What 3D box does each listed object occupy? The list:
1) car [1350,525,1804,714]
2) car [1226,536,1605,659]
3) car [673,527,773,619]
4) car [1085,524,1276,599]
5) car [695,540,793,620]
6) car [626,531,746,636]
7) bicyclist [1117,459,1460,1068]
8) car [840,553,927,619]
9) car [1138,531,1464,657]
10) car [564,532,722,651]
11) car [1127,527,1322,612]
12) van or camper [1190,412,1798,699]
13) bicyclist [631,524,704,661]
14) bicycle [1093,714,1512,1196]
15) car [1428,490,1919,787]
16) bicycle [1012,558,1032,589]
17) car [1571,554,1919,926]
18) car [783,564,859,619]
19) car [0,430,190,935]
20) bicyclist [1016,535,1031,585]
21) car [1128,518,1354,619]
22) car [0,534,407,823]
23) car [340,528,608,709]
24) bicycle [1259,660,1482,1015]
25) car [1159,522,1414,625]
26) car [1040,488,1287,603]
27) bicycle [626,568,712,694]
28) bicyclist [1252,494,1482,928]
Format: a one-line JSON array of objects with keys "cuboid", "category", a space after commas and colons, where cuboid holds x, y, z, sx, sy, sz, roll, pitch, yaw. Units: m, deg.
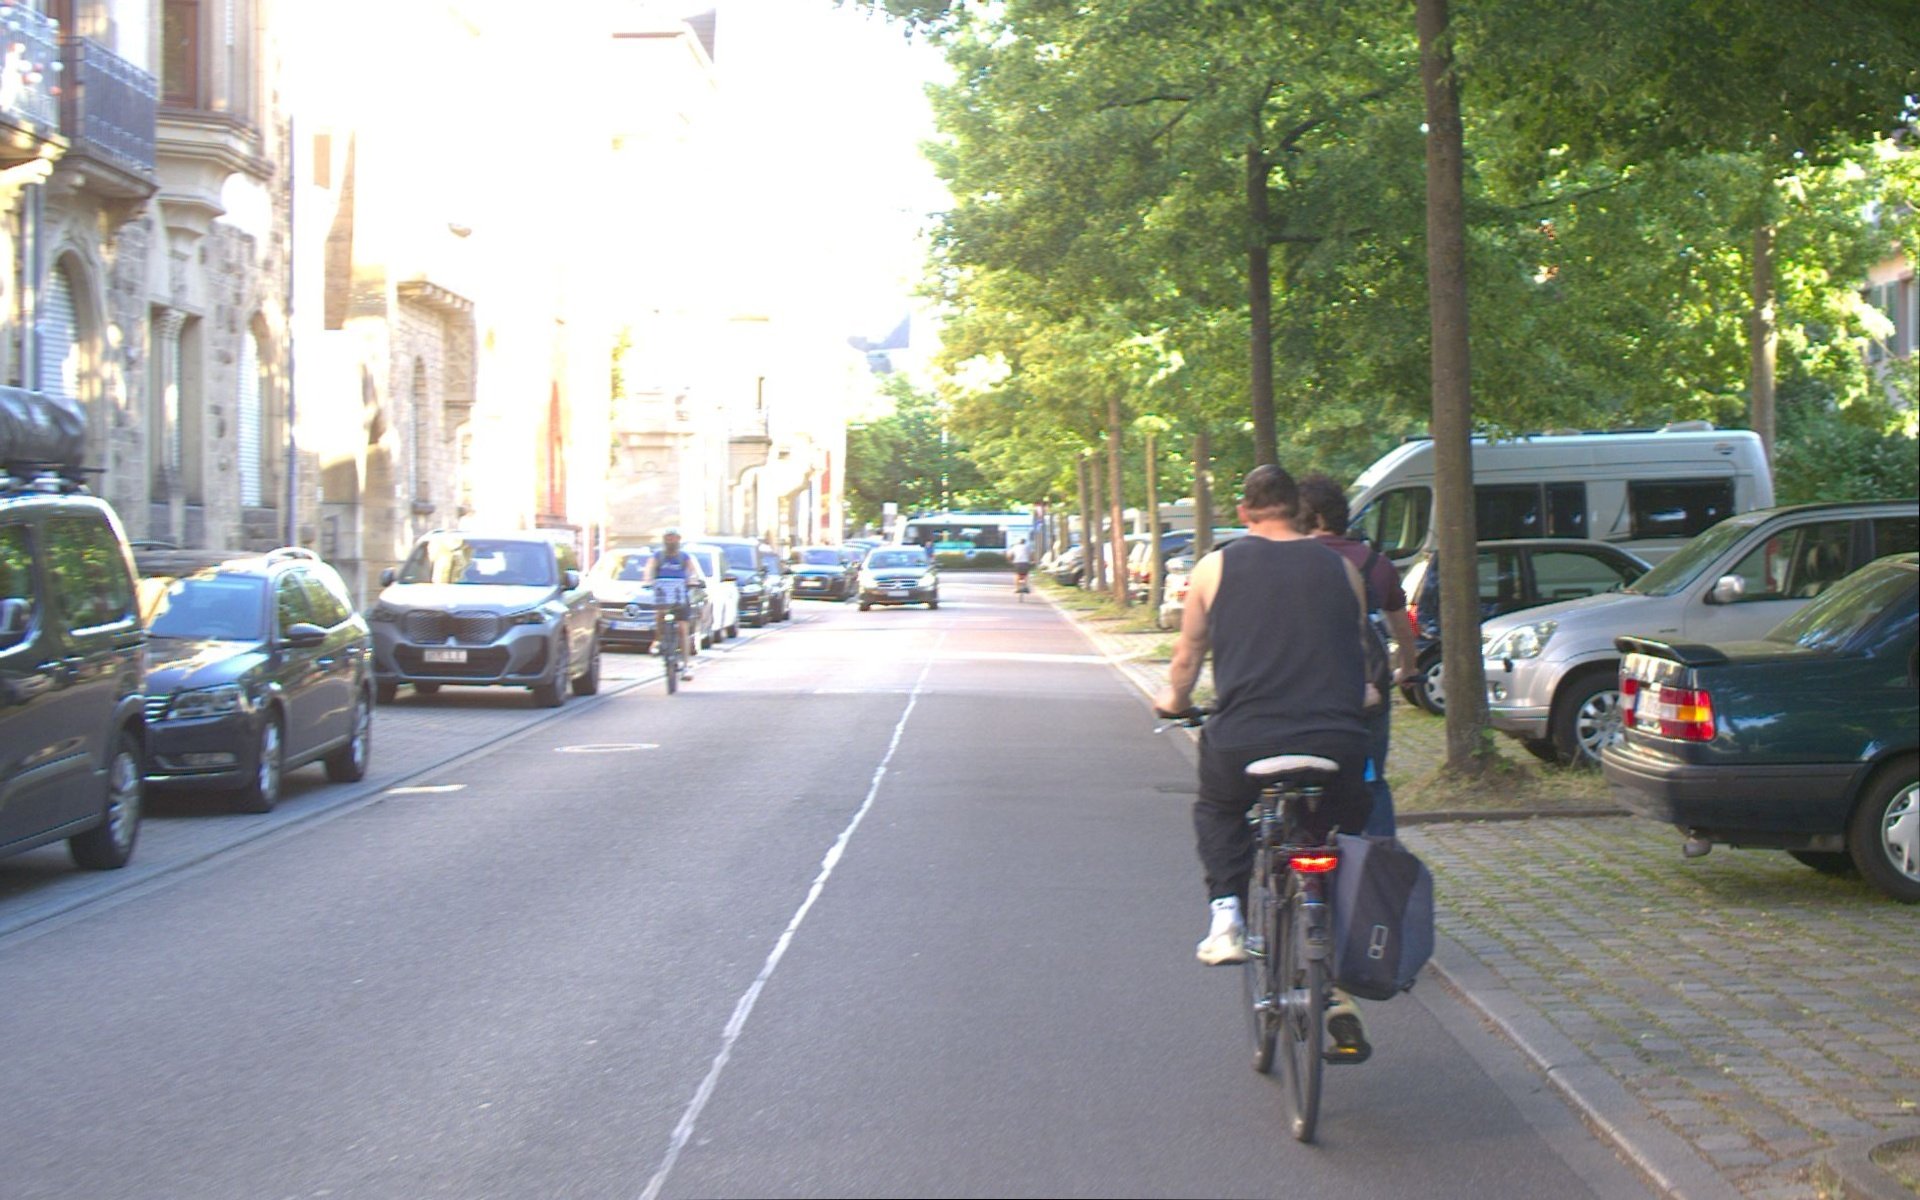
[{"cuboid": [5.174, 0.161, 29.155, 3.501, 1.467, 1.751, -1, 0, 0], "category": "car"}, {"cuboid": [5.617, -0.031, 42.806, 4.502, 1.448, 1.816, -1, 0, 2], "category": "car"}, {"cuboid": [-4.398, -0.490, 64.137, 1.631, 1.660, 3.969, 0, 0, -1], "category": "car"}, {"cuboid": [5.585, -0.967, 87.508, 4.757, 1.774, 1.854, -1, 0, 2], "category": "car"}, {"cuboid": [-4.349, -0.417, 69.745, 1.615, 1.477, 4.018, 4, 0, 0], "category": "car"}, {"cuboid": [-4.324, -0.267, 54.725, 1.491, 1.512, 3.775, 4, 0, 0], "category": "car"}, {"cuboid": [0.849, 0.408, 9.113, 0.706, 1.521, 0.972, 0, 0, -7], "category": "bicyclist"}, {"cuboid": [-1.795, -0.305, 79.375, 1.896, 1.481, 4.382, 0, 0, -2], "category": "car"}, {"cuboid": [4.686, -0.082, 47.606, 4.243, 1.600, 1.754, -1, 0, -2], "category": "car"}, {"cuboid": [-4.480, -0.127, 49.034, 1.755, 1.512, 4.114, 4, 0, 0], "category": "car"}, {"cuboid": [5.922, -0.681, 77.405, 4.243, 1.791, 1.854, -1, 0, 2], "category": "car"}, {"cuboid": [5.219, -0.429, 34.228, 5.574, 2.528, 2.268, -2, 0, -1], "category": "van or camper"}, {"cuboid": [-2.943, -0.083, 34.695, 0.665, 1.340, 1.060, -1, 2, -3], "category": "bicyclist"}, {"cuboid": [0.852, 0.871, 9.124, 0.696, 1.069, 1.969, 0, 0, -7], "category": "bicycle"}, {"cuboid": [5.411, 0.176, 21.983, 4.475, 1.664, 1.943, -3, 2, -1], "category": "car"}, {"cuboid": [1.708, -0.715, 94.406, 0.541, 0.825, 1.919, 0, 0, 1], "category": "bicycle"}, {"cuboid": [5.251, 0.481, 14.617, 4.893, 1.437, 1.942, -2, 0, -1], "category": "car"}, {"cuboid": [-3.834, -0.232, 95.454, 1.993, 1.481, 4.000, 0, 0, -1], "category": "car"}, {"cuboid": [-4.744, 0.276, 14.706, 1.968, 1.967, 4.498, 1, 1, -2], "category": "car"}, {"cuboid": [1.735, -1.096, 94.407, 0.417, 1.346, 0.430, 0, 0, 1], "category": "bicyclist"}, {"cuboid": [5.432, -0.604, 66.884, 4.243, 1.833, 1.854, -1, 0, 2], "category": "car"}, {"cuboid": [-4.704, 0.429, 21.094, 1.729, 1.569, 4.708, 0, 0, 2], "category": "car"}, {"cuboid": [-4.565, 0.164, 32.902, 2.049, 1.616, 4.395, 0, 0, -2], "category": "car"}, {"cuboid": [1.442, 0.803, 12.344, 0.555, 1.069, 1.969, 0, 2, 0], "category": "bicycle"}, {"cuboid": [5.603, -0.458, 59.471, 4.243, 1.642, 1.854, -1, 0, 2], "category": "car"}, {"cuboid": [6.134, -1.638, 104.204, 7.333, 3.271, 2.223, -1, 0, 2], "category": "car"}, {"cuboid": [-2.950, 0.294, 35.045, 0.753, 1.174, 2.621, -1, 2, -3], "category": "bicycle"}, {"cuboid": [1.470, 0.388, 12.541, 0.718, 1.521, 0.972, 0, 0, 0], "category": "bicyclist"}]
